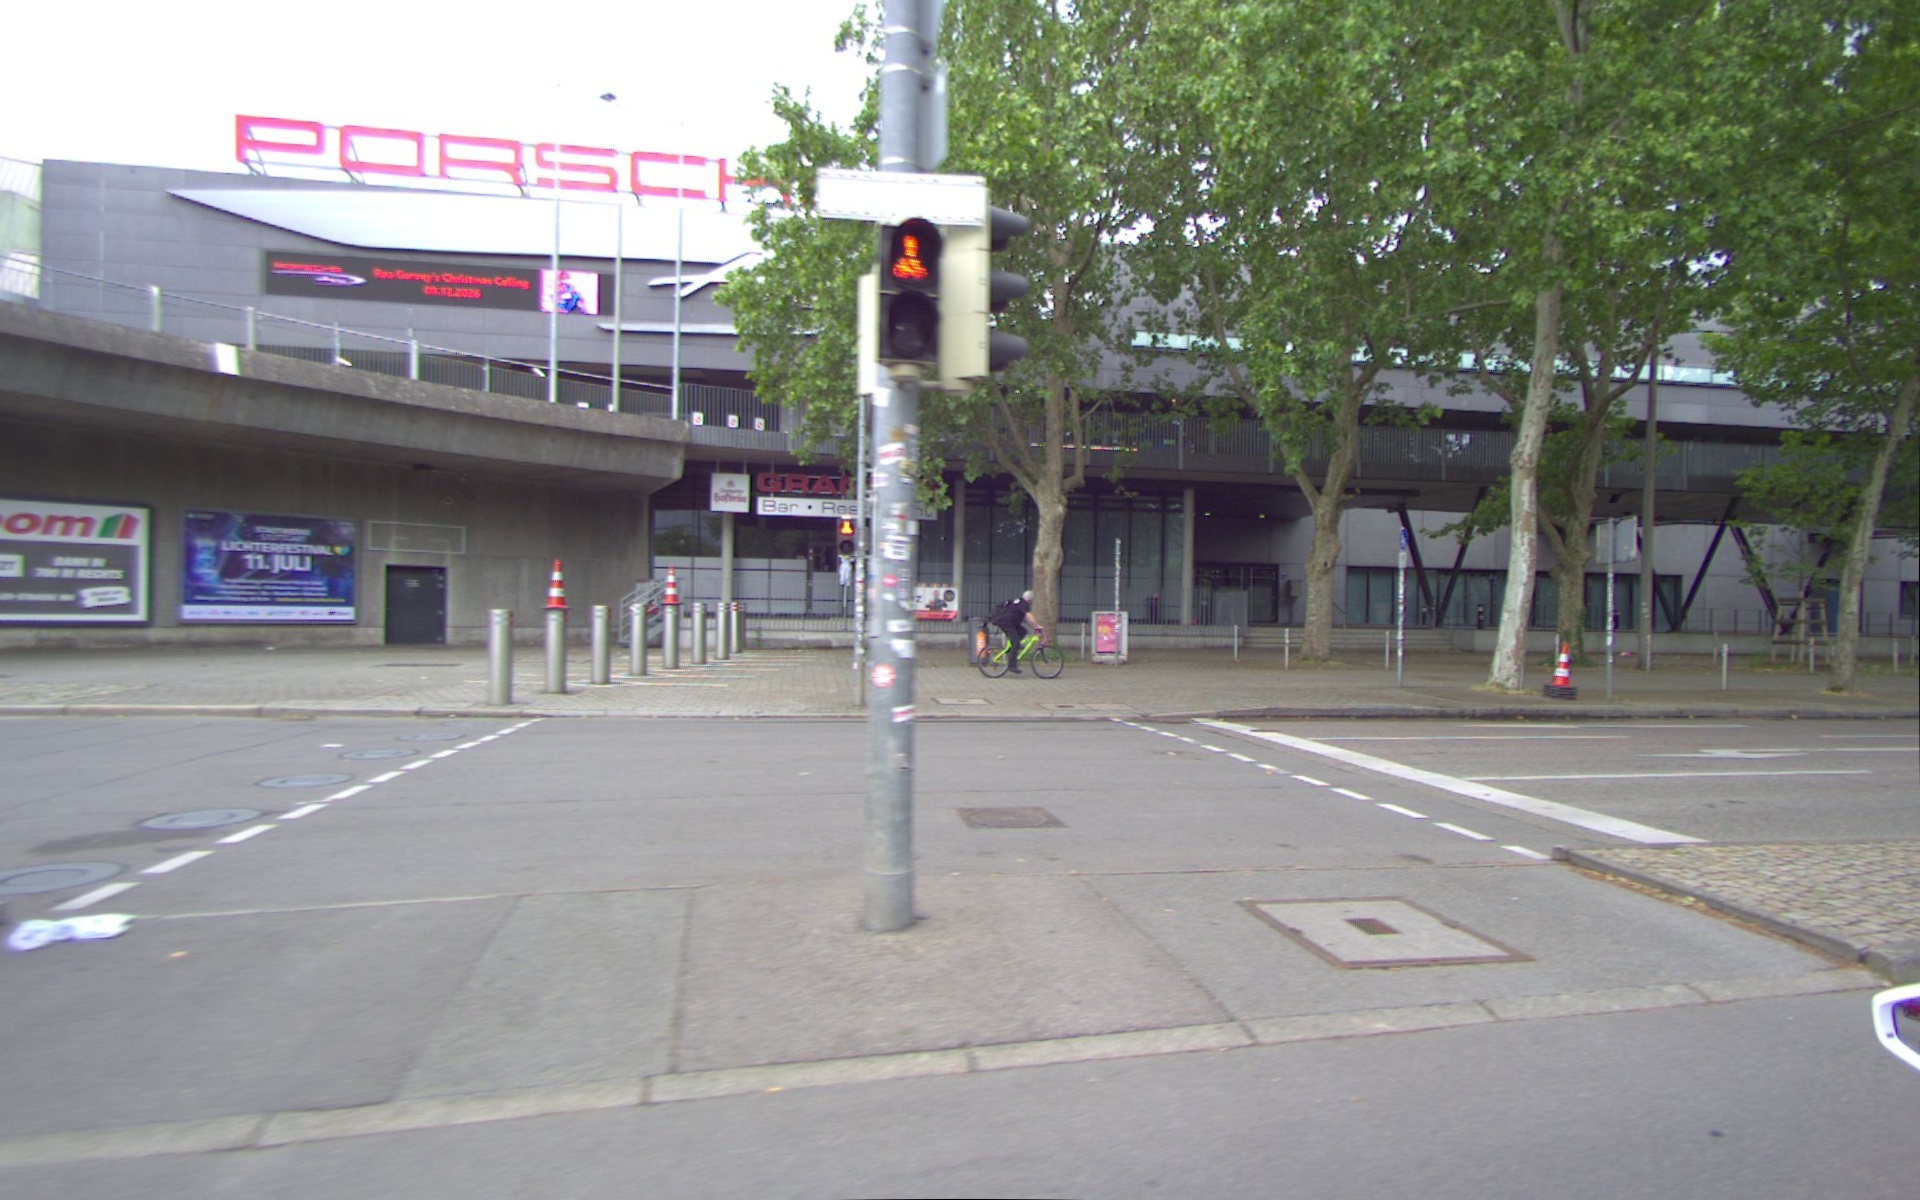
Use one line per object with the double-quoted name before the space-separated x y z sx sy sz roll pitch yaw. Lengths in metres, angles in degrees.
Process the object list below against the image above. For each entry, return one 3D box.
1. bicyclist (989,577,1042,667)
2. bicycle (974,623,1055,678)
"bicyclist" 1.096 0.439 20.015 0.839 1.720 0.765 3 -2 -11
"bicycle" 1.079 1.010 19.997 1.511 1.026 0.516 3 -2 -11
